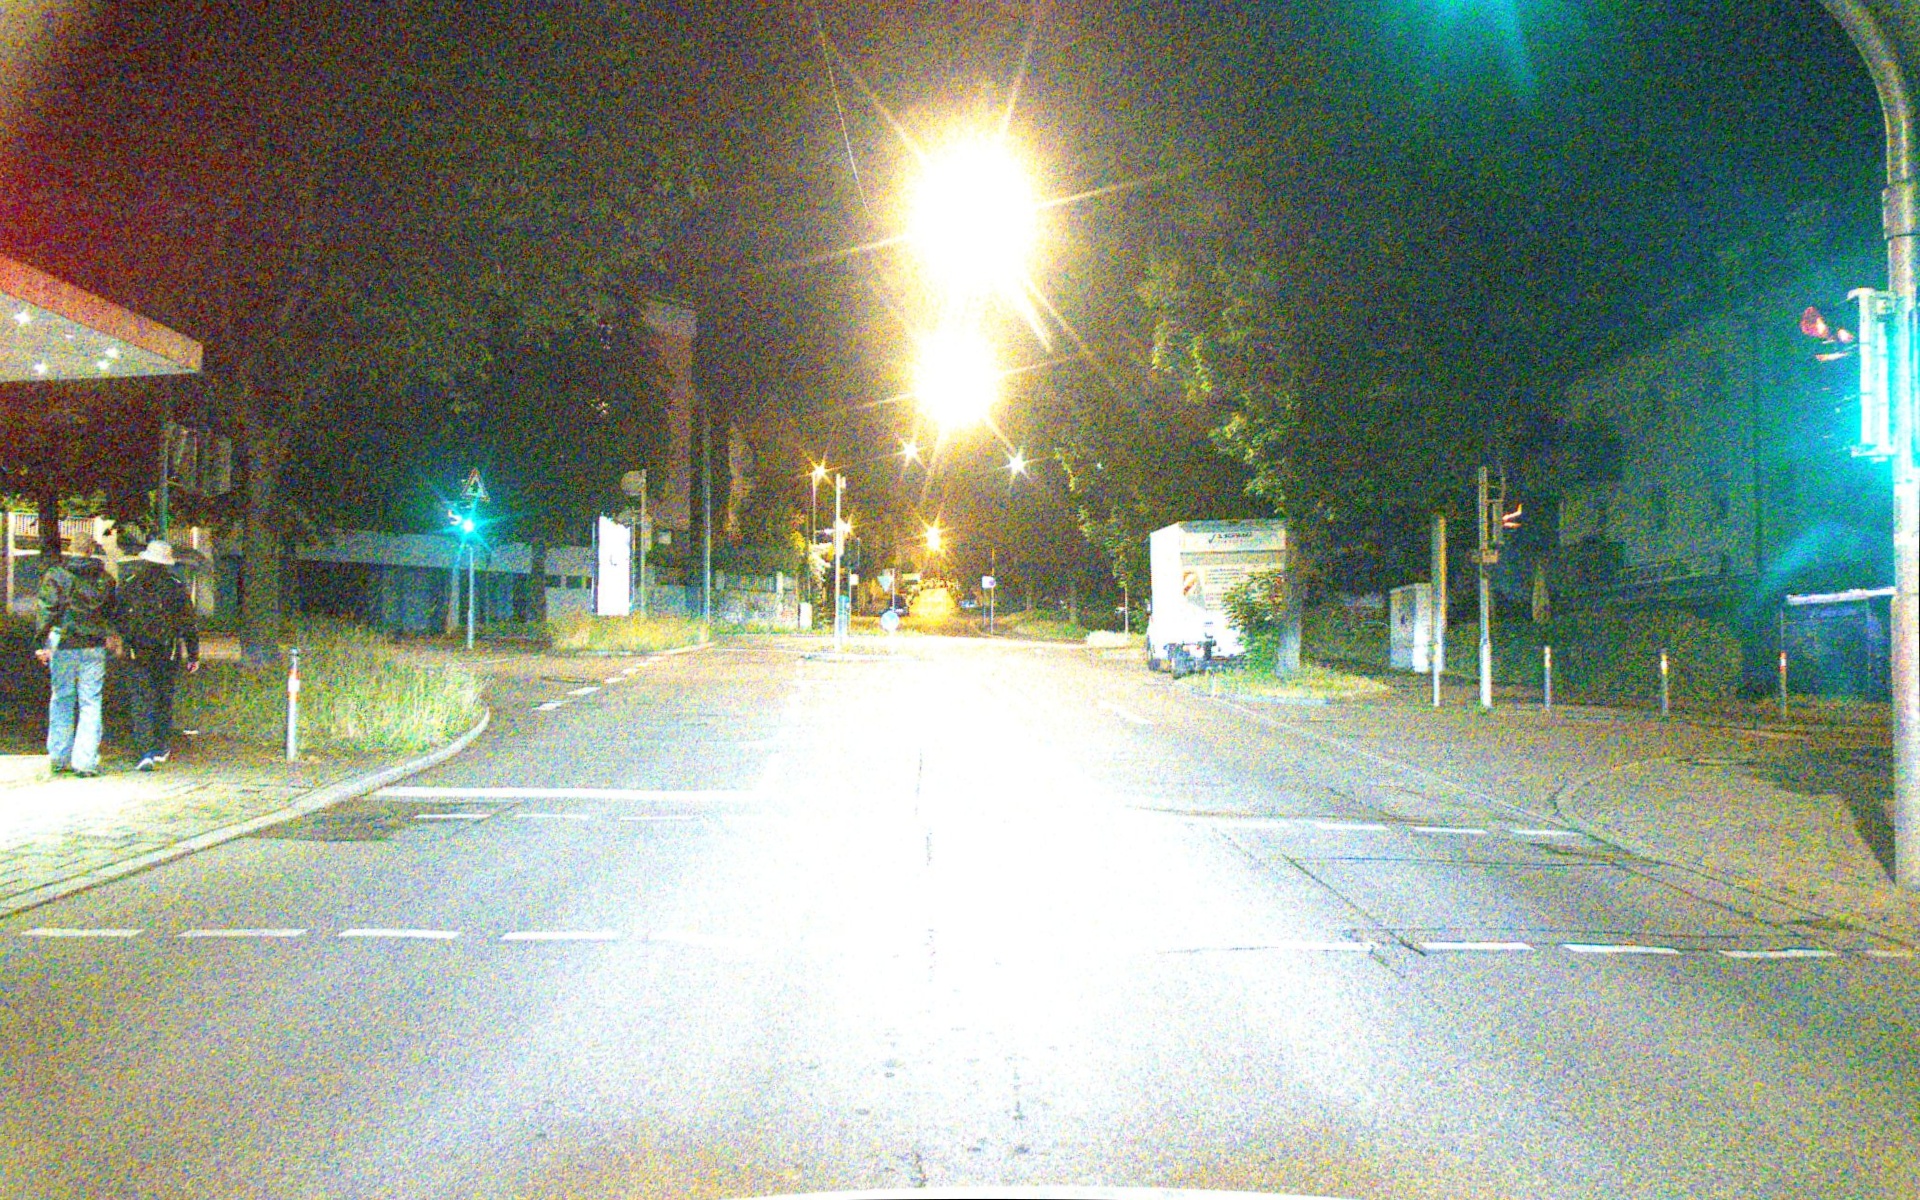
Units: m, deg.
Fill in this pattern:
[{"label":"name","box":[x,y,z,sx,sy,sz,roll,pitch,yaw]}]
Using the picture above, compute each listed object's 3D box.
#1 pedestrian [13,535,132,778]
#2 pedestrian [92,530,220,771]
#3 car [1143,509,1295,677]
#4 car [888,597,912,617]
[{"label":"pedestrian","box":[-6.618,0.413,12.349,0.558,1.761,0.543,1,-1,-1]},{"label":"pedestrian","box":[-6.285,0.388,12.963,0.558,1.808,0.737,3,-1,-1]},{"label":"car","box":[5.249,-0.126,34.355,2.249,3.147,5.840,-1,0,1]},{"label":"car","box":[-4.860,0.539,134.320,1.869,1.585,3.903,1,0,-1]}]
